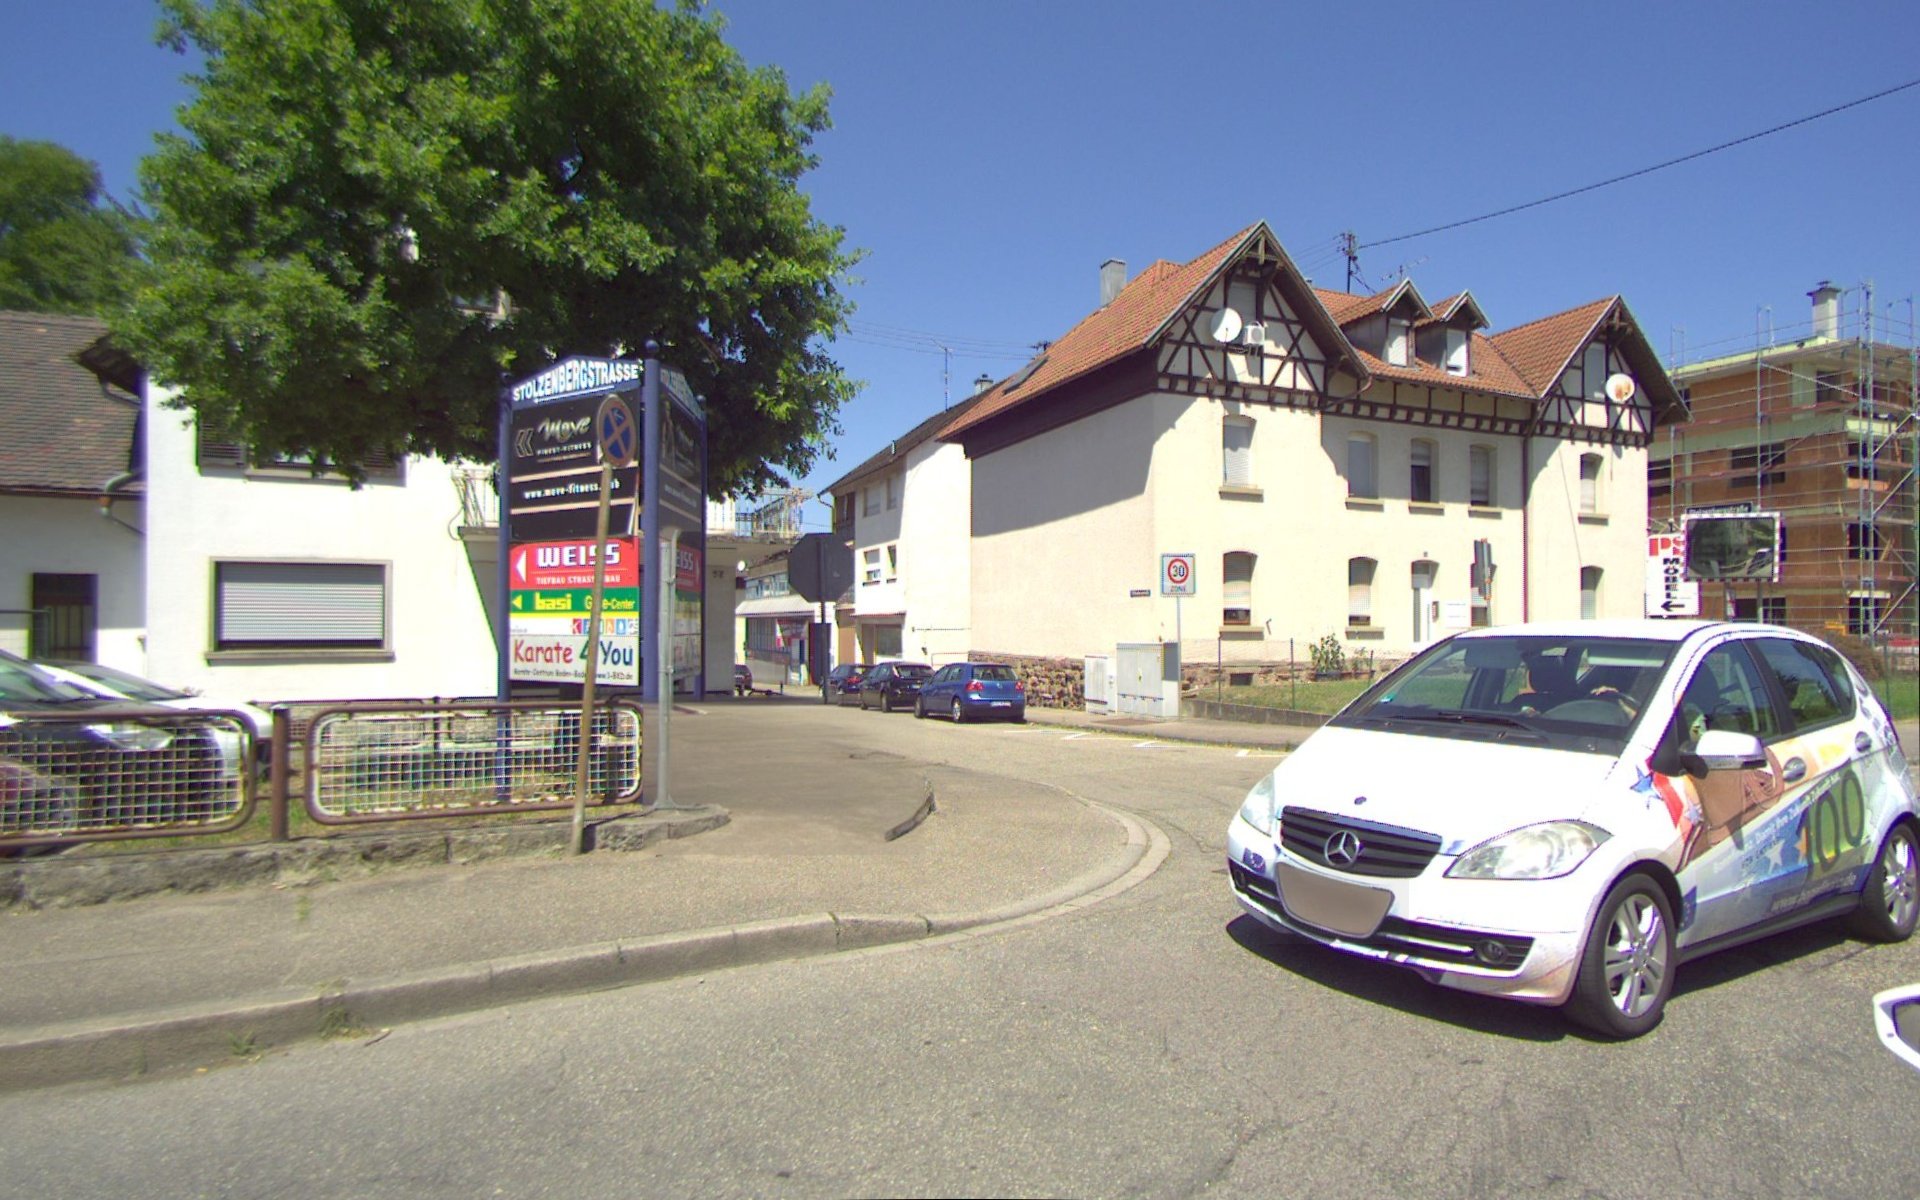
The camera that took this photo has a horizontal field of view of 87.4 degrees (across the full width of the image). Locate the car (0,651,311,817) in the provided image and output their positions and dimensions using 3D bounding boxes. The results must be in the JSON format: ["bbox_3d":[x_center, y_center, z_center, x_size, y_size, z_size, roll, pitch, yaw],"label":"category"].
[{"bbox_3d":[-8.765,1.225,9.697,3.946,1.452,1.789,1,-3,-25],"label":"car"}]

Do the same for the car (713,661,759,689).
[{"bbox_3d":[-12.473,4.136,55.800,1.775,1.452,3.979,1,-3,-23],"label":"car"}]

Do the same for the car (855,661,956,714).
[{"bbox_3d":[-1.697,2.564,30.090,1.775,1.452,3.979,1,-3,-23],"label":"car"}]

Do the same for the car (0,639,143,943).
[{"bbox_3d":[-6.951,0.971,5.119,3.946,1.538,1.789,1,-3,-25],"label":"car"}]

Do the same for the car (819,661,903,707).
[{"bbox_3d":[-3.489,2.842,34.645,1.775,1.452,3.979,1,-3,-23],"label":"car"}]

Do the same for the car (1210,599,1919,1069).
[{"bbox_3d":[3.266,0.866,5.101,3.839,1.582,1.645,2,-3,-30],"label":"car"}]

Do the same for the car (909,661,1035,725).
[{"bbox_3d":[0.210,2.296,25.487,1.775,1.452,3.979,1,-3,-23],"label":"car"}]

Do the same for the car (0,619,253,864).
[{"bbox_3d":[-8.175,1.000,7.352,4.557,1.700,1.791,1,-3,-22],"label":"car"}]
